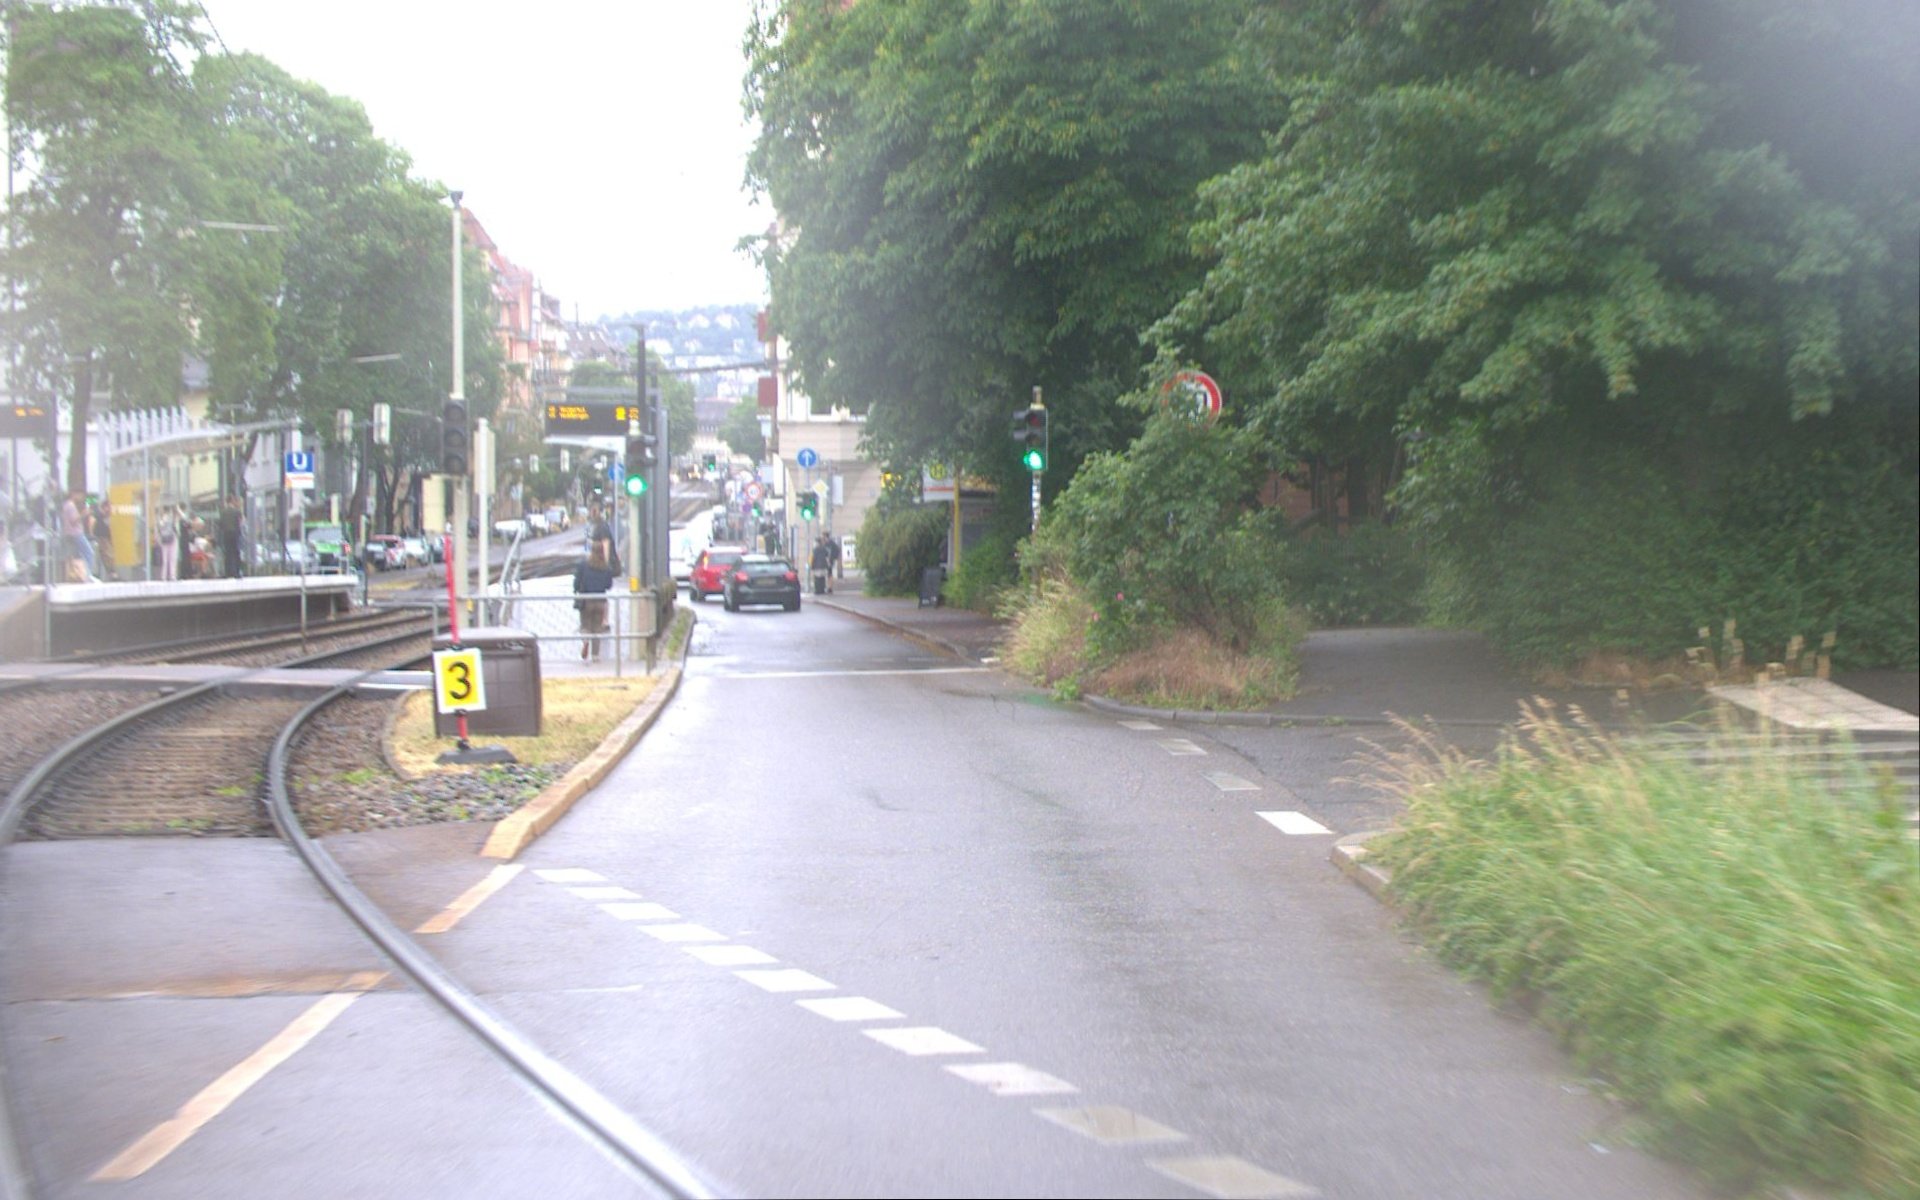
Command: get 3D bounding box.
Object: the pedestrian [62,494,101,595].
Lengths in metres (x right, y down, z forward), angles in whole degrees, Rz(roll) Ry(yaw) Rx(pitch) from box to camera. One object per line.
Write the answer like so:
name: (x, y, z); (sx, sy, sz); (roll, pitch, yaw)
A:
pedestrian: (-16.197, -1.021, 63.380); (0.516, 1.831, 0.762); (-1, 0, -4)

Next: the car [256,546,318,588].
car: (-25.881, -1.282, 132.322); (1.726, 1.510, 4.496); (0, 1, -3)

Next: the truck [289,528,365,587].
truck: (-26.200, -1.753, 142.477); (2.051, 2.385, 6.321); (0, 1, -1)

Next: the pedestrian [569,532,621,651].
pedestrian: (-4.820, -0.116, 45.415); (0.650, 1.557, 0.684); (0, 0, -3)

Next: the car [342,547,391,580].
car: (-26.981, -1.660, 156.380); (1.773, 1.448, 4.256); (-2, 1, -4)

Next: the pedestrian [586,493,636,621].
pedestrian: (-4.913, -0.603, 48.430); (0.650, 1.778, 0.848); (0, 0, -3)

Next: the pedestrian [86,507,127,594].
pedestrian: (-16.359, -0.947, 65.912); (0.594, 1.660, 0.762); (-1, 0, -4)

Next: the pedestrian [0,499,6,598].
pedestrian: (-15.758, -0.832, 55.551); (0.516, 1.599, 0.563); (-1, 0, -4)

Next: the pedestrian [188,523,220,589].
pedestrian: (-16.467, -0.957, 74.882); (0.550, 1.408, 0.614); (-1, 0, -4)

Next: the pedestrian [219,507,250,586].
pedestrian: (-16.076, -1.187, 76.160); (0.550, 1.735, 0.614); (-1, 0, -4)

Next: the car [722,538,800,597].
car: (-5.122, -0.846, 88.178); (1.851, 1.468, 4.001); (0, 1, -5)

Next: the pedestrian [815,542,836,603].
pedestrian: (-3.996, -0.826, 102.081); (0.553, 1.807, 0.651); (0, 0, -6)

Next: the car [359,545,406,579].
car: (-27.449, -1.811, 163.612); (1.773, 1.541, 4.256); (-2, 1, -4)

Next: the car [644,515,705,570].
car: (-9.608, -1.904, 115.553); (1.948, 1.787, 4.145); (1, 0, -6)

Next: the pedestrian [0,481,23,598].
pedestrian: (-15.362, -0.960, 54.998); (0.561, 1.843, 0.599); (-1, 0, -4)

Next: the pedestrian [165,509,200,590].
pedestrian: (-16.220, -1.050, 71.707); (0.594, 1.660, 0.591); (-1, 0, -4)

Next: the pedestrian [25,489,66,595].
pedestrian: (-15.917, -1.008, 59.850); (0.516, 1.831, 0.762); (-1, 0, -4)
